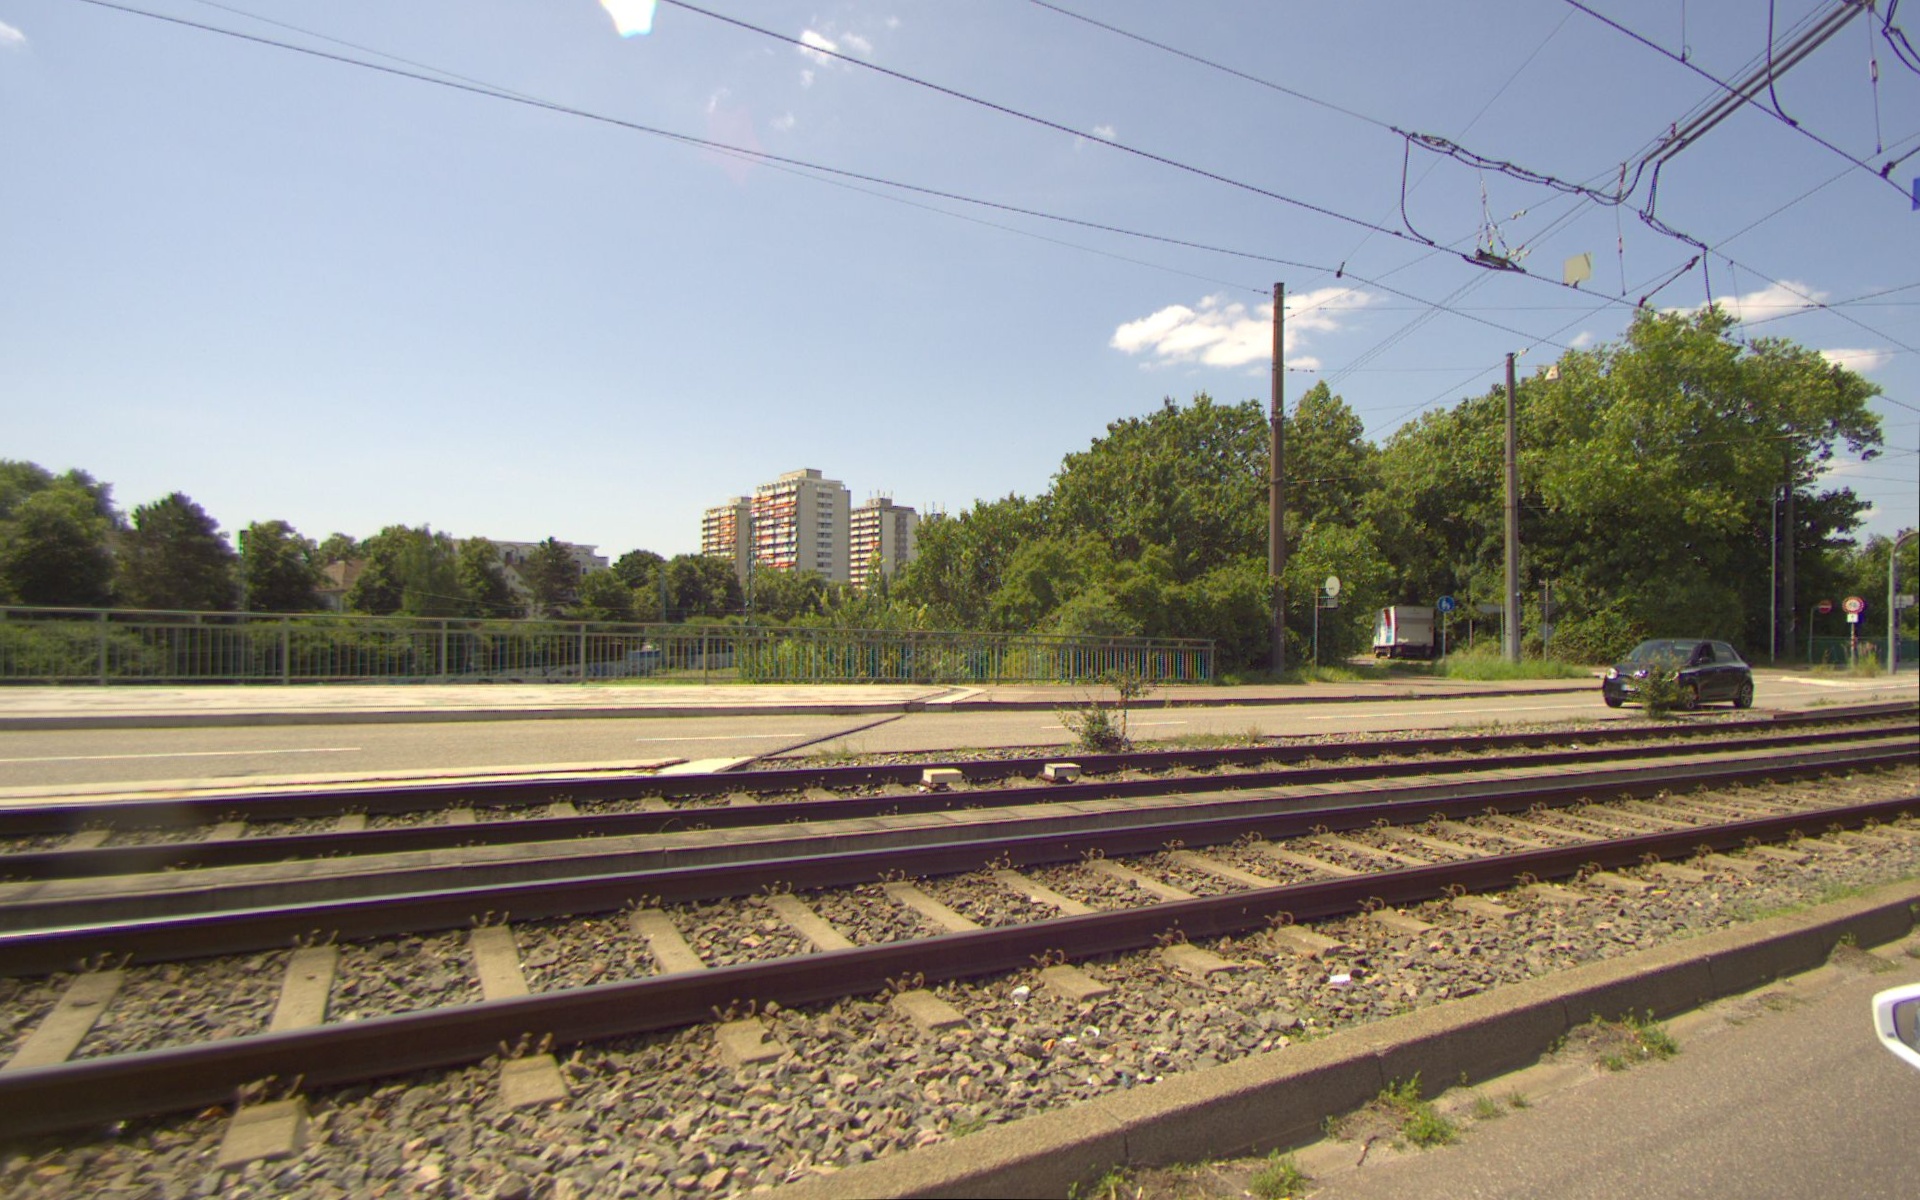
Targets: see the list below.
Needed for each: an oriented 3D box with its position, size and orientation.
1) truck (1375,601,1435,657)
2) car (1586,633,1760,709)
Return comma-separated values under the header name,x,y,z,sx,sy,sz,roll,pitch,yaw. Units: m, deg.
name,x,y,z,sx,sy,sz,roll,pitch,yaw
truck,31.432,1.984,71.099,2.790,3.704,5.294,3,0,13
car,15.804,1.577,22.246,3.688,1.530,1.698,3,-2,-29
